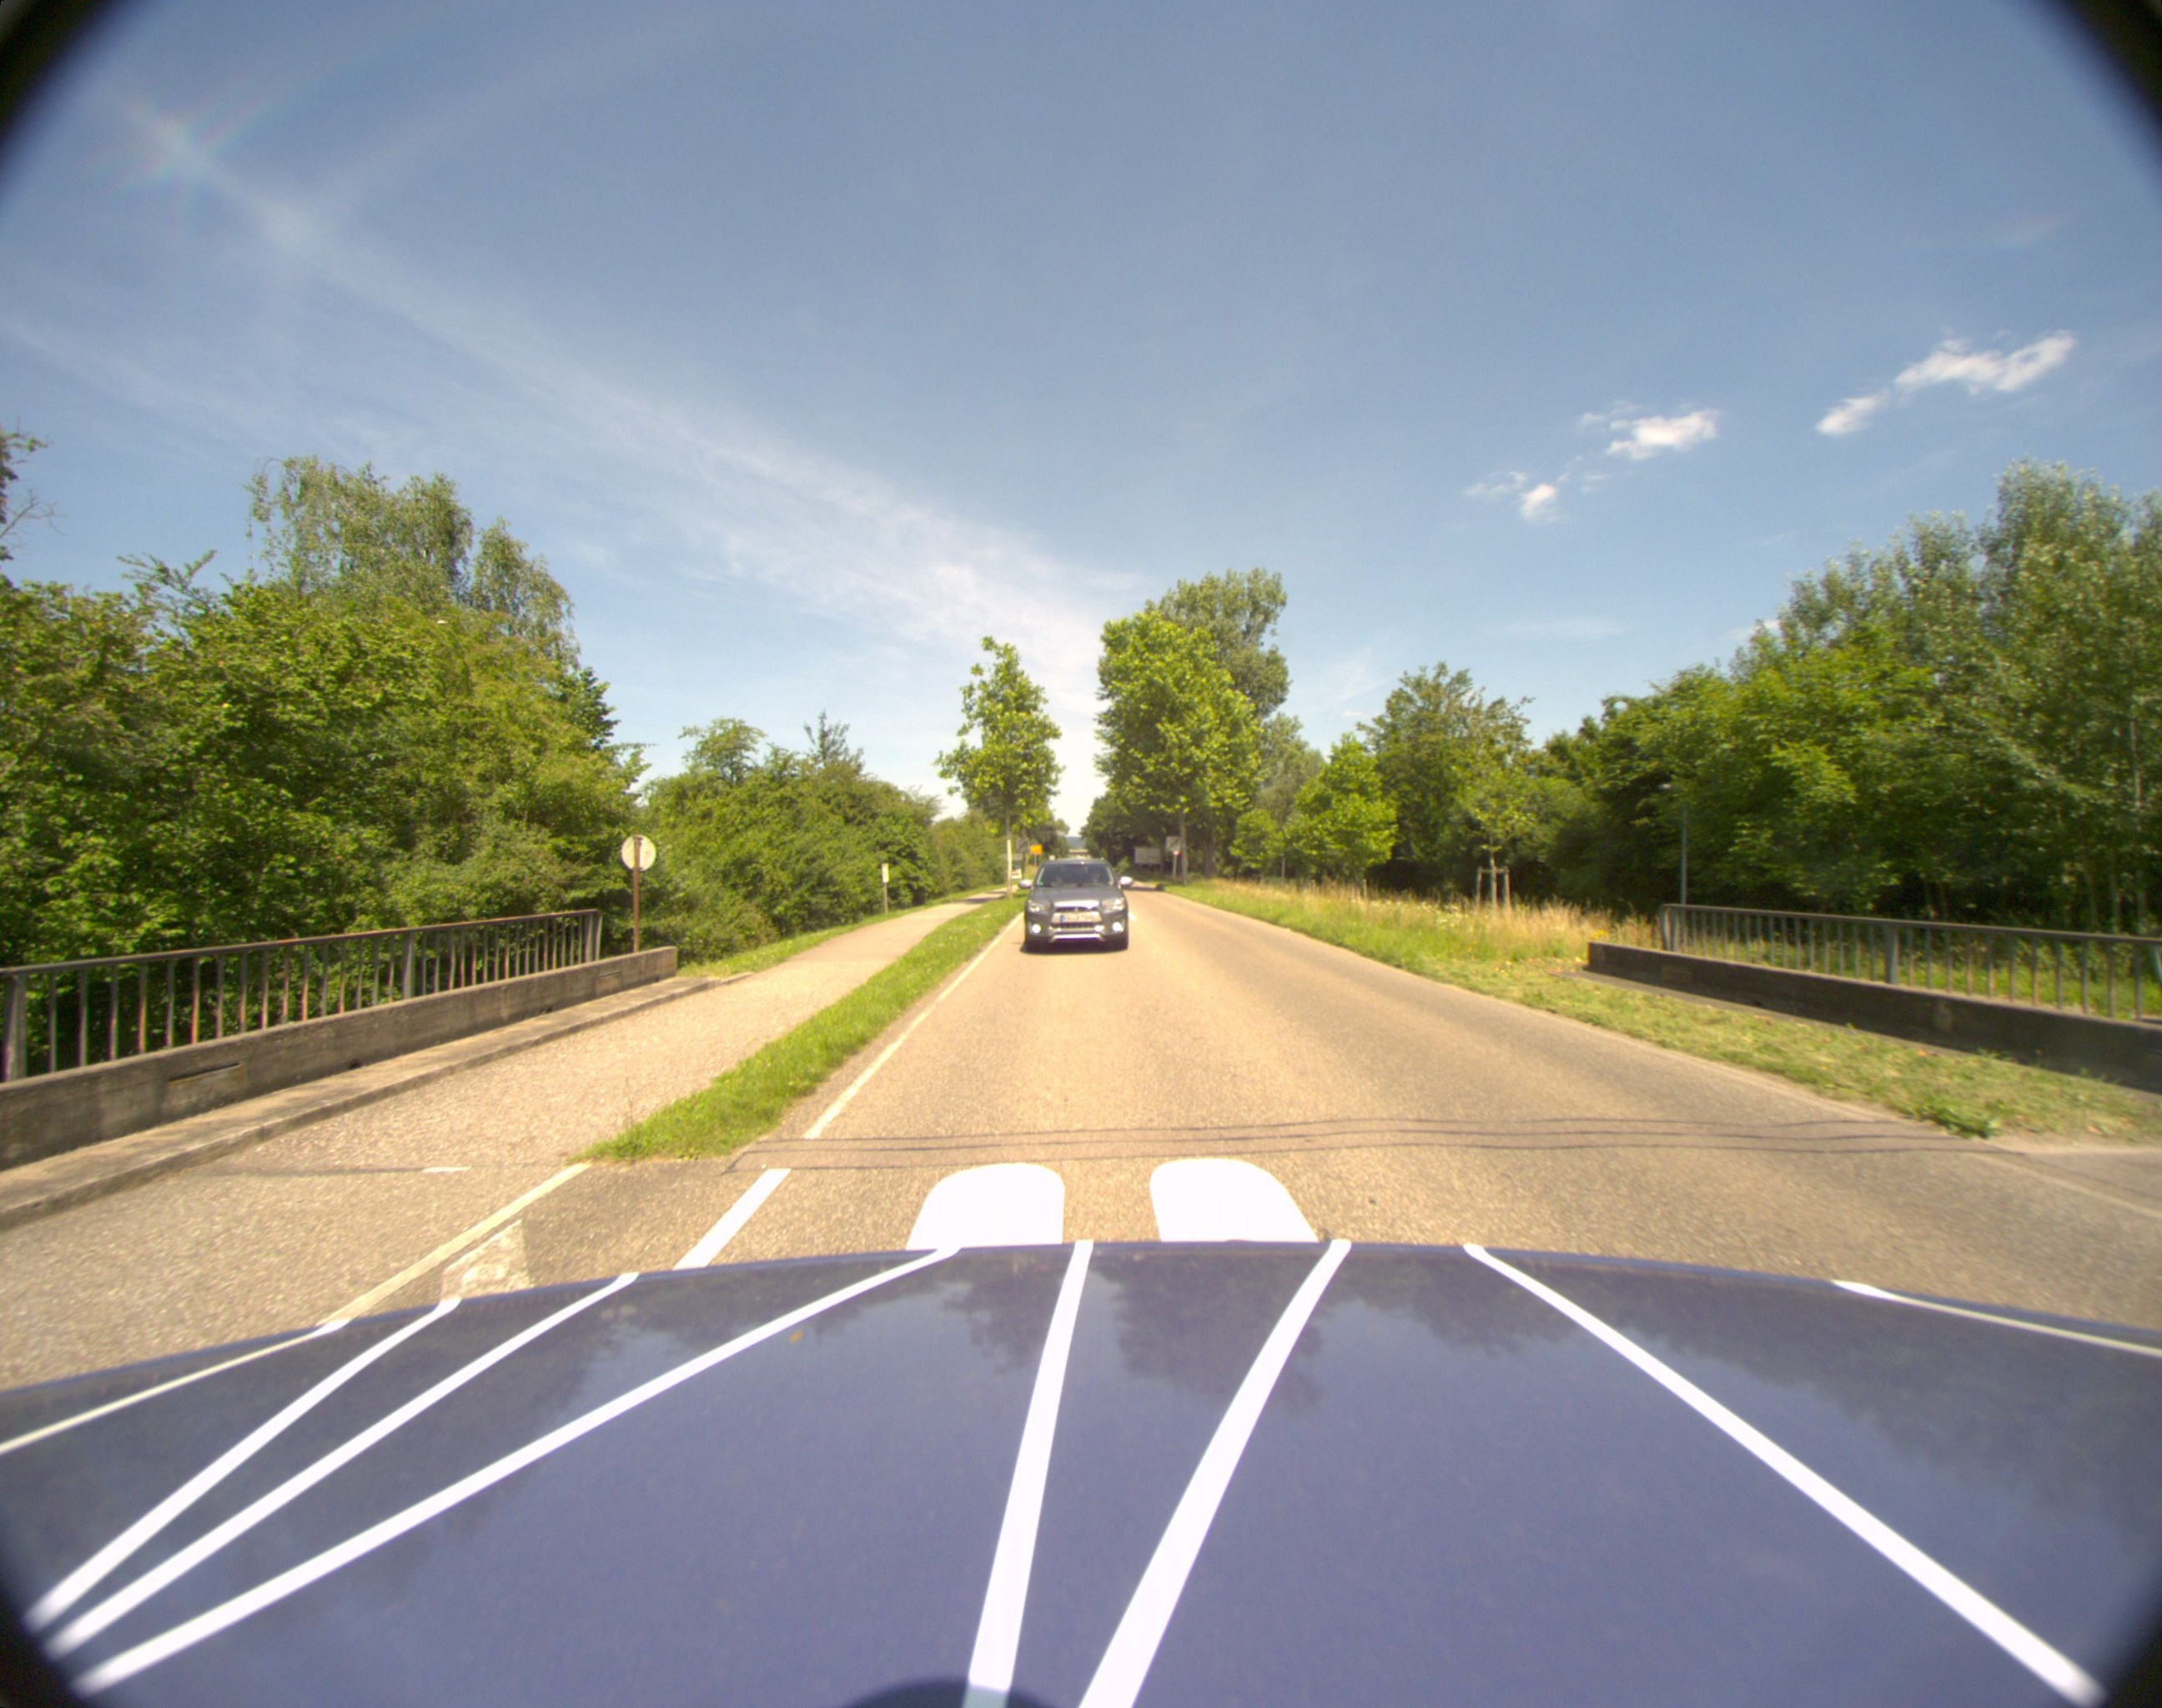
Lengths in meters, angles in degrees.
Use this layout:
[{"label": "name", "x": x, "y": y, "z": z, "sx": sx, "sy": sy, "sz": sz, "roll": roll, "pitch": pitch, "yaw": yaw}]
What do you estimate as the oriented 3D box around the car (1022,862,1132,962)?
[{"label": "car", "x": -0.085, "y": 0.955, "z": 14.477, "sx": 1.750, "sy": 1.525, "sz": 4.524, "roll": -1, "pitch": 0, "yaw": -1}]
